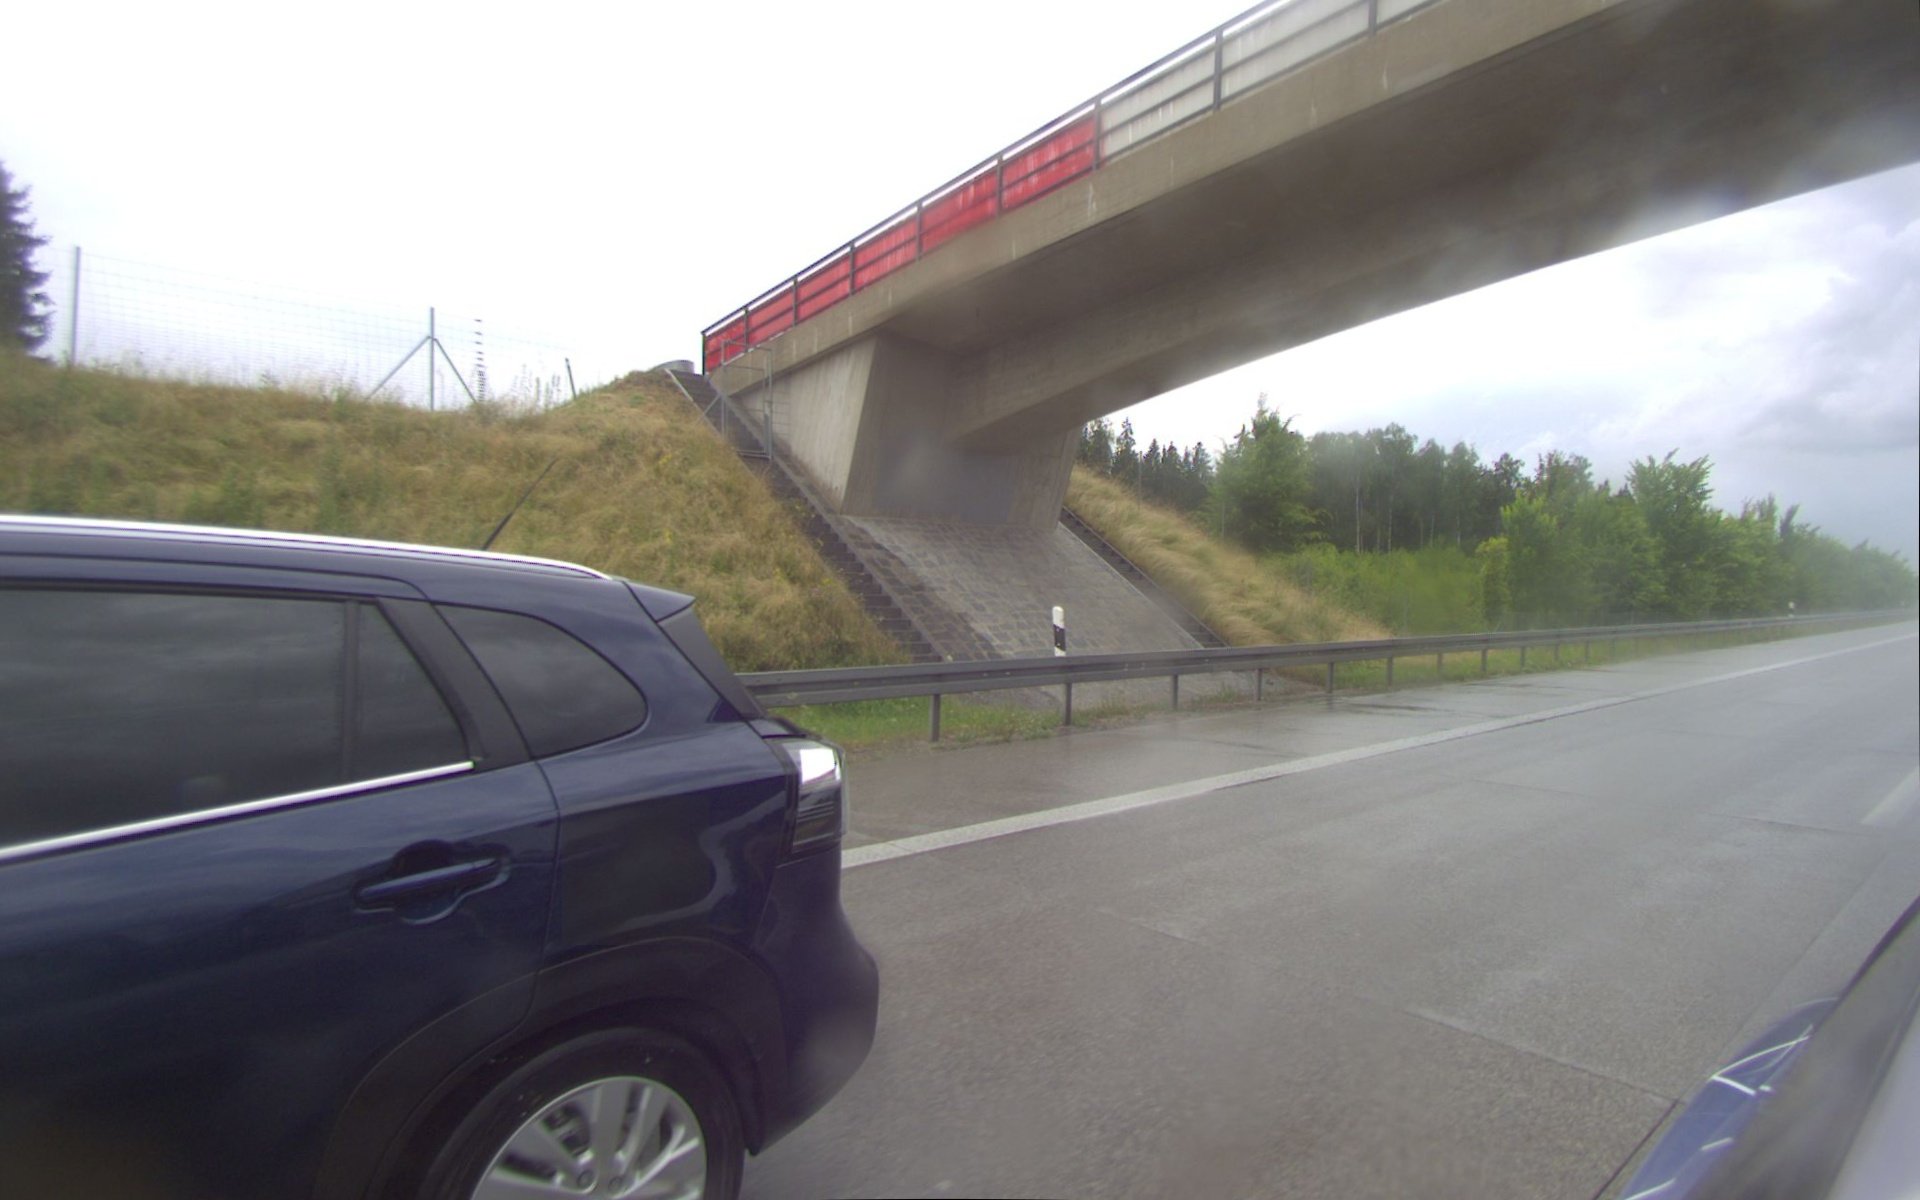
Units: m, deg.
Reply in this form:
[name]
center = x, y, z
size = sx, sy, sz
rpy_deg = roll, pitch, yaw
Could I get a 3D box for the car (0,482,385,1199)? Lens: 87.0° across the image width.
[car]
center = -2.848, 0.641, 1.115
size = 3.568, 1.596, 1.897
rpy_deg = 0, 0, -41
